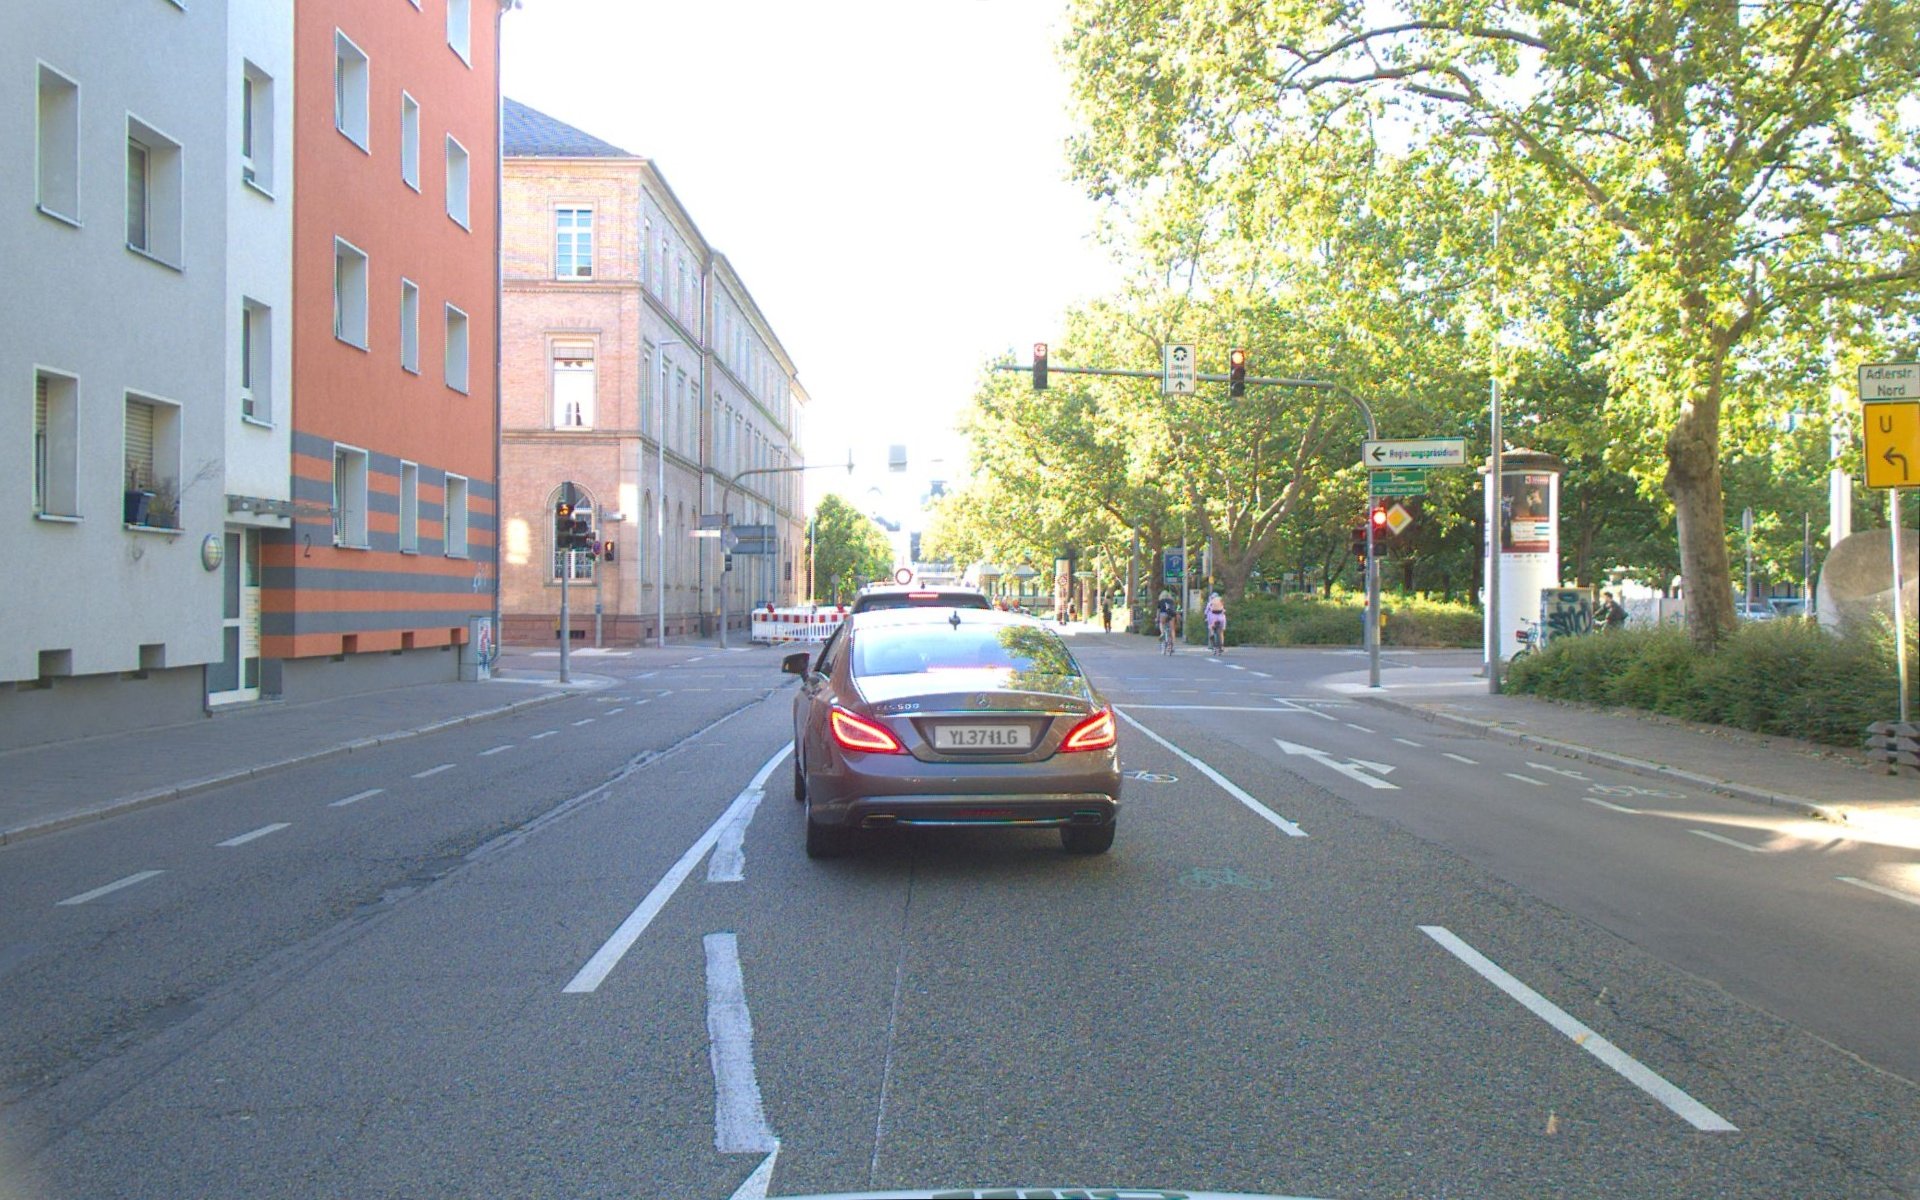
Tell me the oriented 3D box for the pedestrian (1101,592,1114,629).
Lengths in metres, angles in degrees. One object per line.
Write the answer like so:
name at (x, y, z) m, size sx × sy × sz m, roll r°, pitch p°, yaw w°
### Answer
pedestrian at (6.885, 0.479, 77.009) m, size 0.548 × 1.707 × 0.564 m, roll 0°, pitch 0°, yaw -1°

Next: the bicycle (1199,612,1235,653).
bicycle at (6.708, 0.831, 43.270) m, size 0.588 × 1.002 × 1.881 m, roll 2°, pitch 0°, yaw -1°

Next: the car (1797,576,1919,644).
car at (25.520, 0.267, 45.598) m, size 3.912 × 1.815 × 2.001 m, roll 0°, pitch 0°, yaw 4°

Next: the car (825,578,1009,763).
car at (-0.449, 0.635, 16.793) m, size 1.647 × 1.653 × 3.839 m, roll 0°, pitch 0°, yaw -2°

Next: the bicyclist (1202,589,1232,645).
bicyclist at (6.719, 0.429, 43.216) m, size 0.588 × 1.426 × 0.931 m, roll 2°, pitch 0°, yaw -1°

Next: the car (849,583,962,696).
car at (-0.862, 0.587, 26.207) m, size 1.647 × 1.653 × 3.839 m, roll 0°, pitch 0°, yaw -2°

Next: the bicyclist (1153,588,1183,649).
bicyclist at (5.407, 0.476, 43.043) m, size 0.598 × 1.542 × 0.889 m, roll 2°, pitch 0°, yaw -1°

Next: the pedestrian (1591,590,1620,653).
pedestrian at (18.614, 0.621, 47.710) m, size 0.607 × 1.815 × 0.630 m, roll 0°, pitch 0°, yaw 1°

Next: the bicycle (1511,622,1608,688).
bicycle at (9.690, 0.884, 26.758) m, size 1.387 × 1.055 × 0.538 m, roll 0°, pitch 0°, yaw -5°

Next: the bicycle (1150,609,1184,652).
bicycle at (5.390, 0.784, 43.148) m, size 0.598 × 1.044 × 1.731 m, roll 2°, pitch 0°, yaw -1°

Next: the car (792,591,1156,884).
car at (-0.129, 0.708, 10.763) m, size 1.787 × 1.502 × 4.346 m, roll 0°, pitch 0°, yaw -8°
